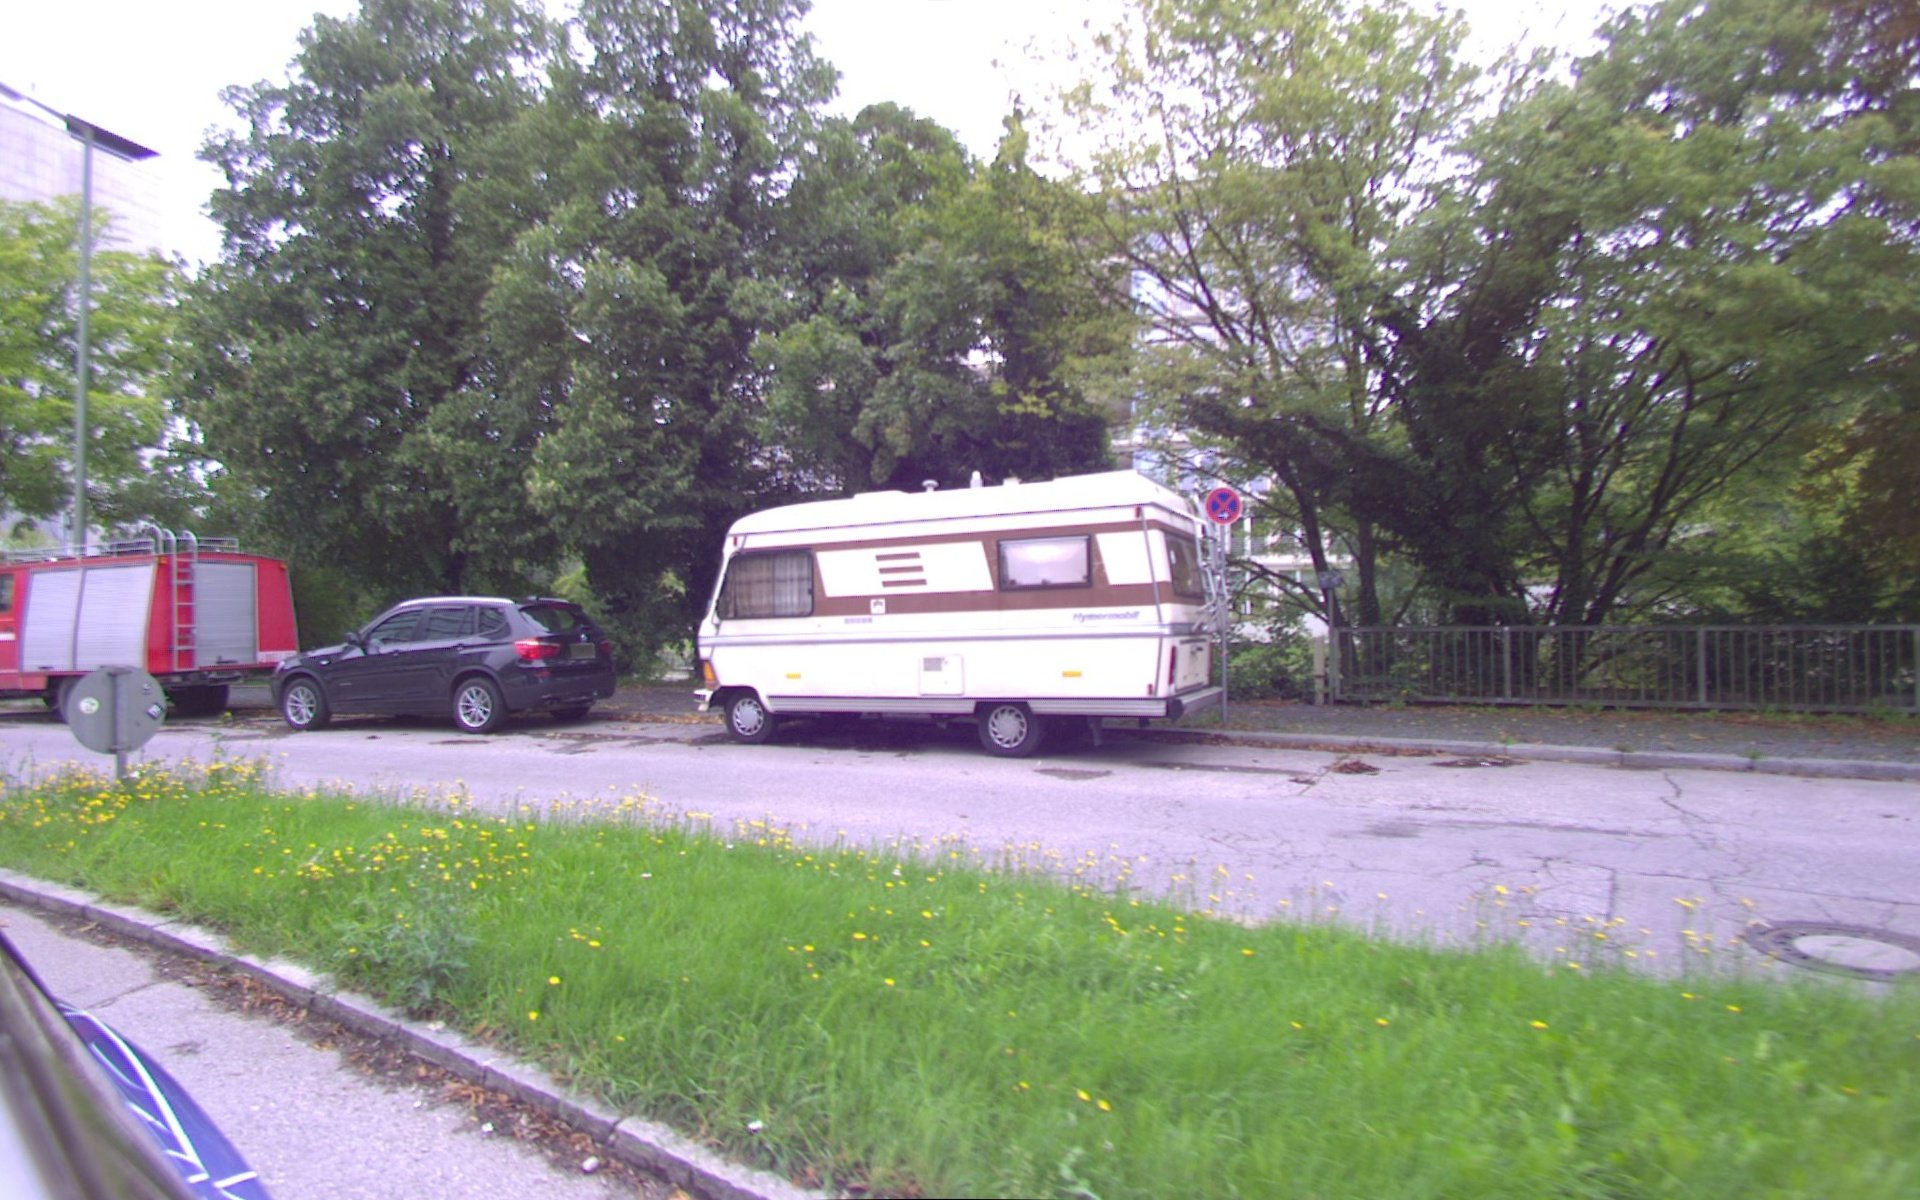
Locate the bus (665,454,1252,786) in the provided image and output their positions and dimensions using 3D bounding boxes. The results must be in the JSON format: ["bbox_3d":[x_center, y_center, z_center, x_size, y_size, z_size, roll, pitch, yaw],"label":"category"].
[{"bbox_3d":[-0.071,0.235,10.566,5.701,2.719,2.303,-1,-2,25],"label":"bus"}]

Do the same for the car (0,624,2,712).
[{"bbox_3d":[-19.388,1.217,17.722,4.214,1.561,1.774,-1,-2,13],"label":"car"}]

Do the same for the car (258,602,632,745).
[{"bbox_3d":[-6.719,0.904,13.275,4.422,1.662,1.772,-1,-2,18],"label":"car"}]

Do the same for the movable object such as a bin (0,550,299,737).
[{"bbox_3d":[-13.326,0.643,15.477,6.138,2.477,2.097,-1,-2,20],"label":"movable object such as a bin"}]
